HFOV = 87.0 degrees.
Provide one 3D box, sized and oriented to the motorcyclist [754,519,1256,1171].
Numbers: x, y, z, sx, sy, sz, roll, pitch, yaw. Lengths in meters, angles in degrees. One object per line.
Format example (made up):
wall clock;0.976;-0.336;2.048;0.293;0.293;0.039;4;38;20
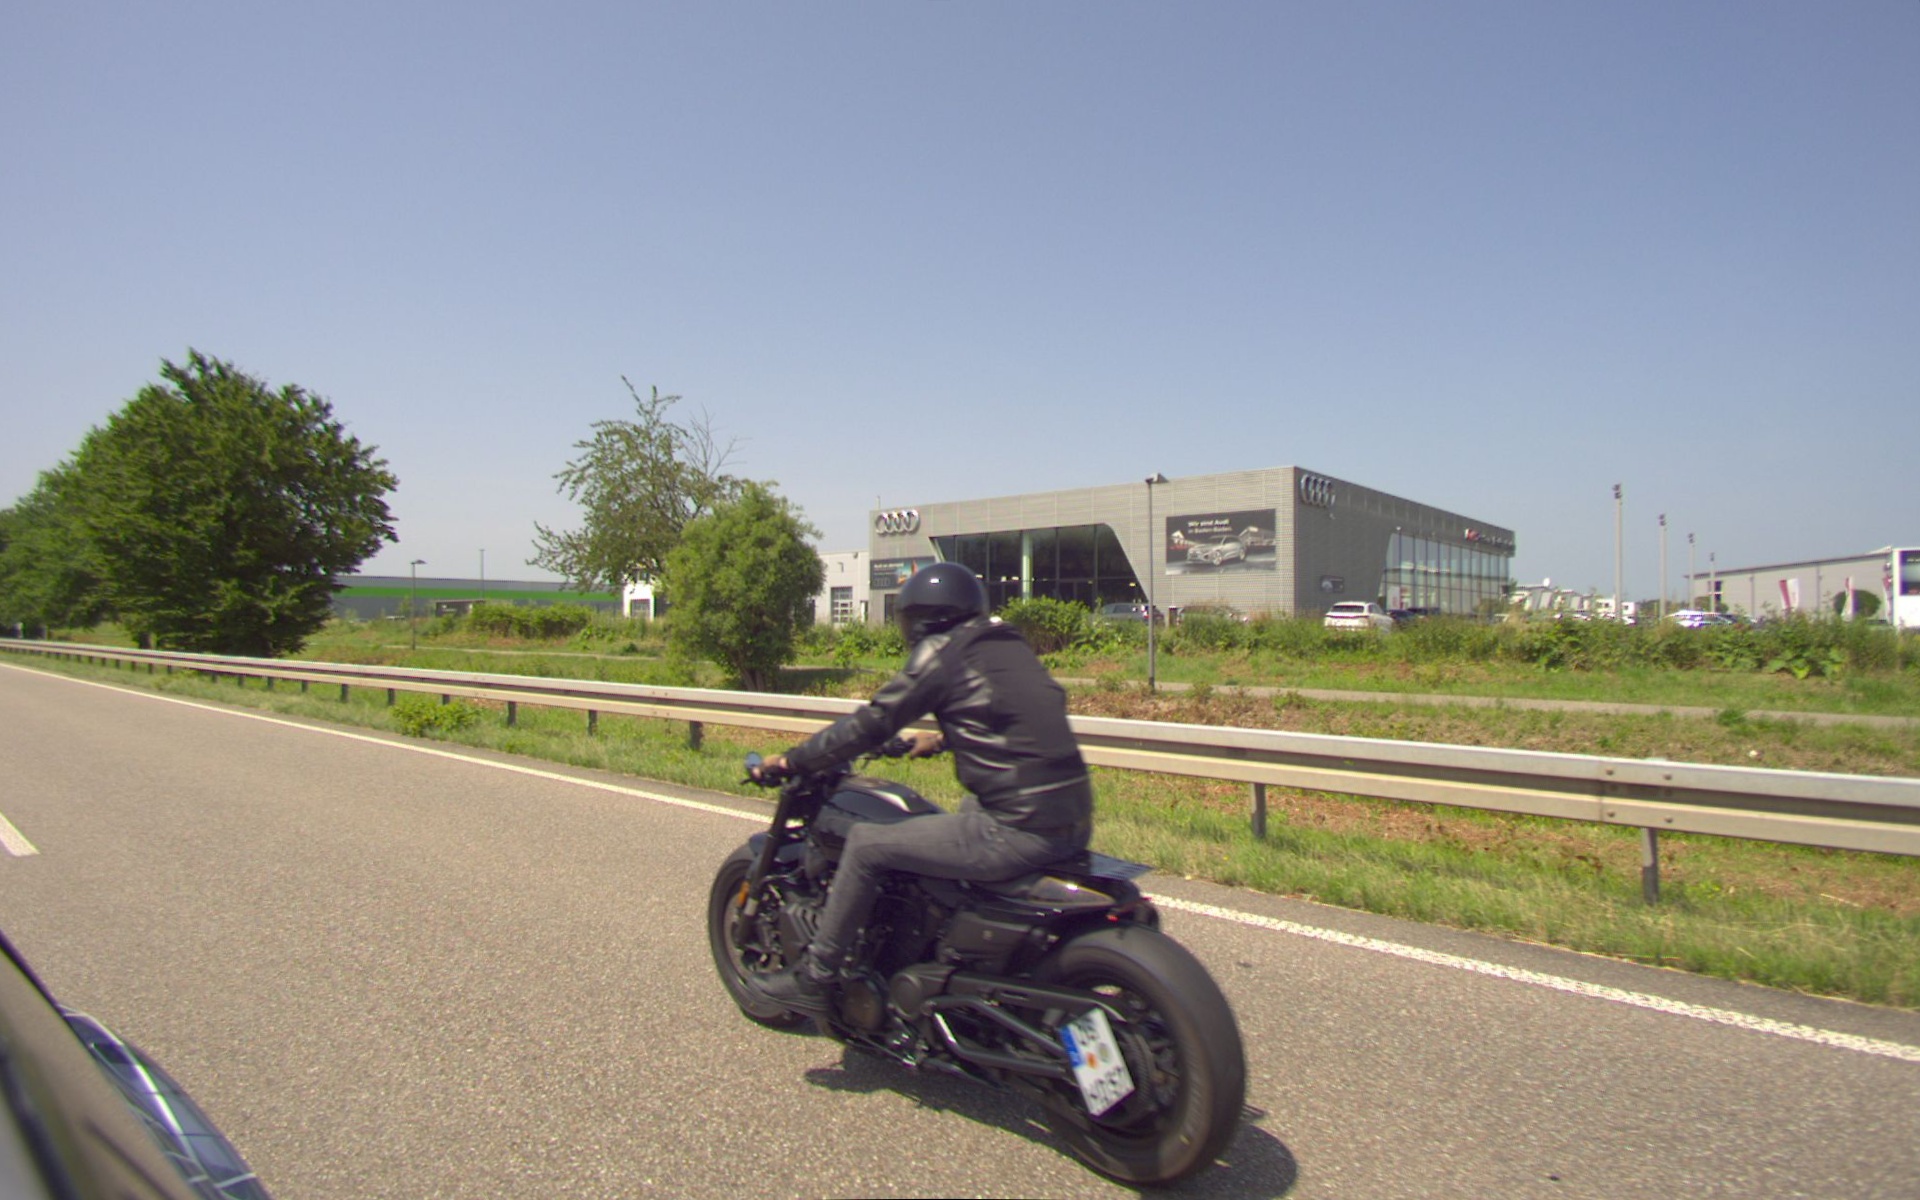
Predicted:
motorcyclist;0.136;0.499;2.736;0.935;1.319;0.983;-1;-1;41

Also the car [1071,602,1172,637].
car;7.753;0.971;48.887;4.663;1.549;1.729;-2;-3;41

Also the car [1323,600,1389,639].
car;16.153;0.840;41.172;1.620;1.448;4.190;-1;-3;34

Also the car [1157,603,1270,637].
car;11.305;0.934;45.269;4.663;1.448;1.728;-2;-3;42

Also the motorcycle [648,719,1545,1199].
motorcycle;0.188;0.952;2.732;2.267;1.035;0.918;-1;0;42
